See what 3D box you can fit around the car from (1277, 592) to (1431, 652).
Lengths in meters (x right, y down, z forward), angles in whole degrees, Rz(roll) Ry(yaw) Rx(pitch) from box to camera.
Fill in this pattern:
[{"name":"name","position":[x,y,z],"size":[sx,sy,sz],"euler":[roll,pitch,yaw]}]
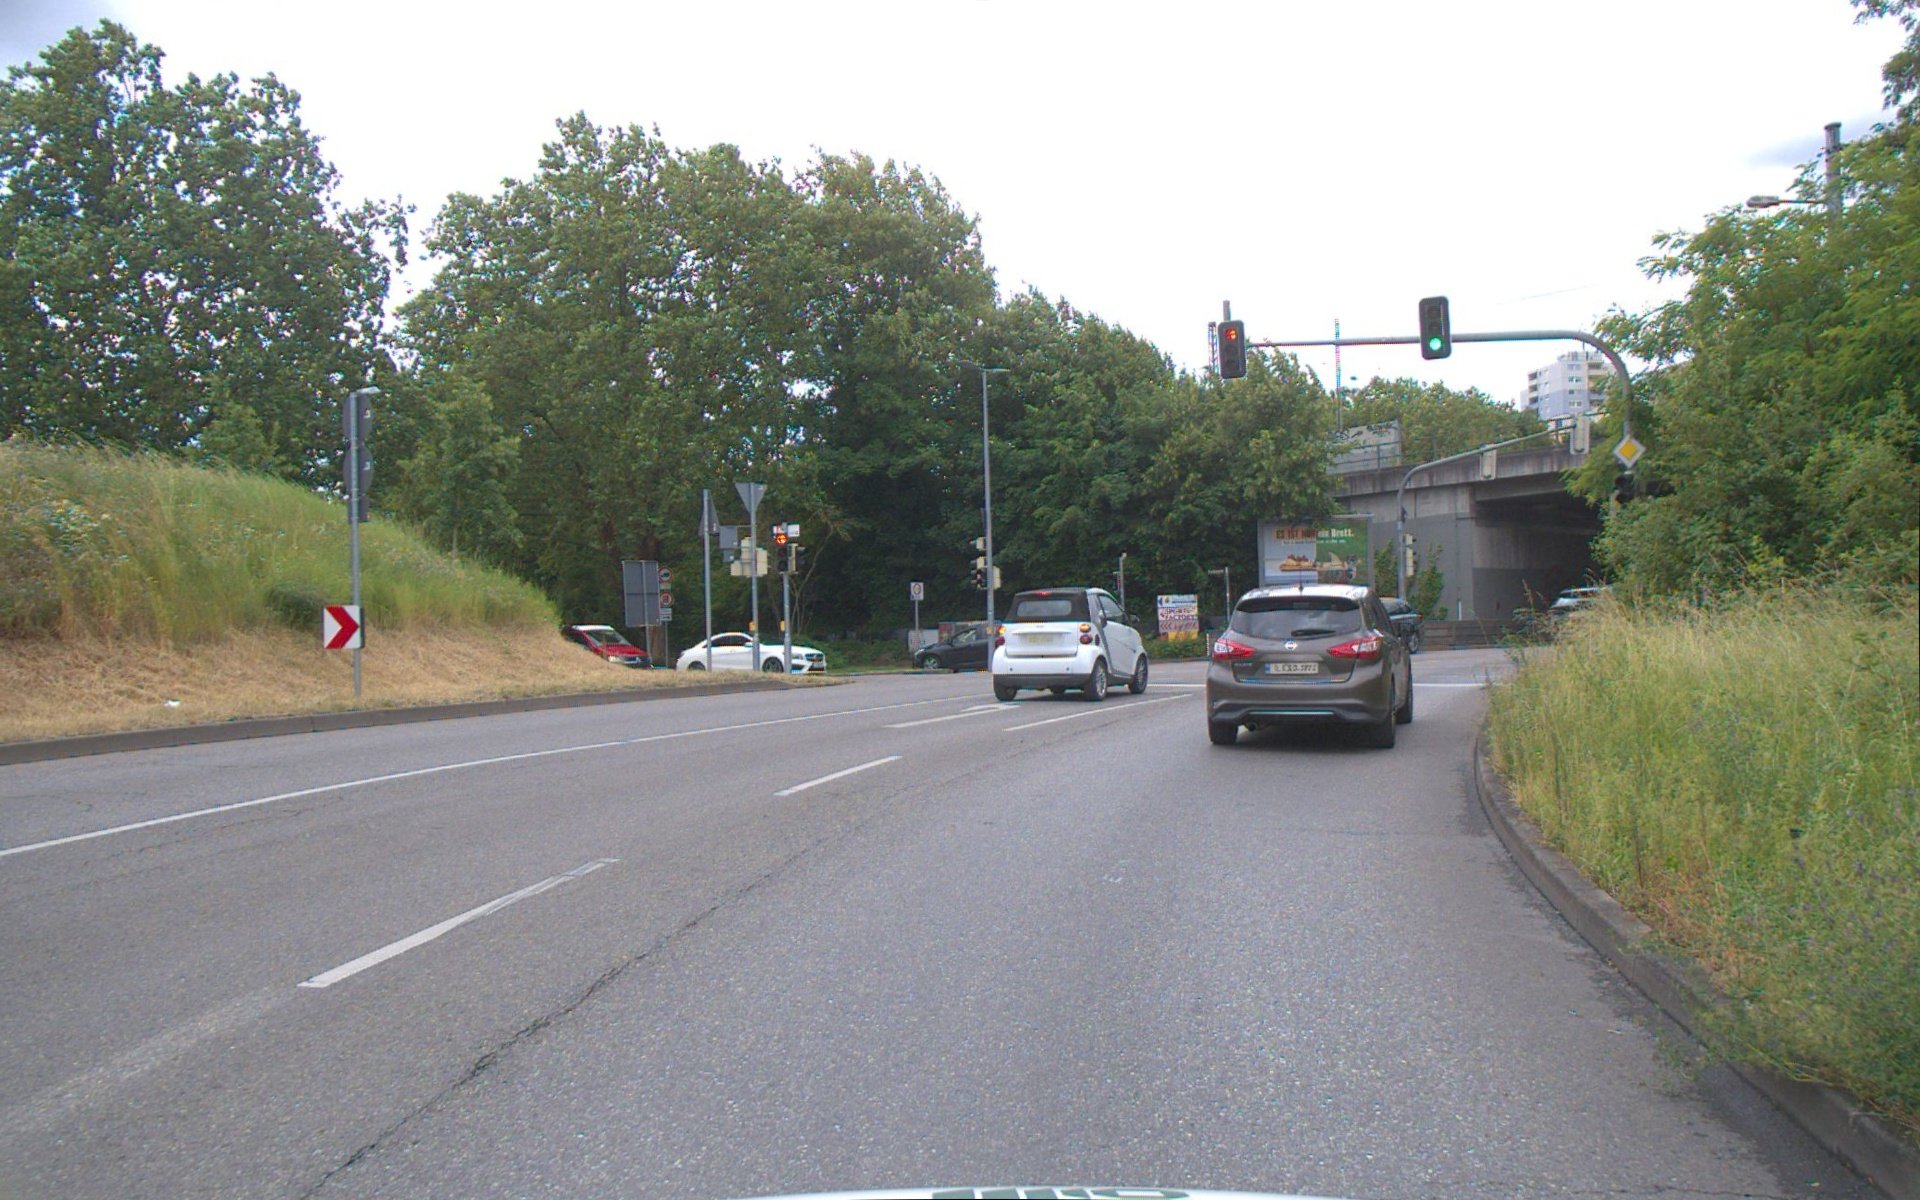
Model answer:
[{"name":"car","position":[10.209,0.555,42.658],"size":[4.386,1.445,1.742],"euler":[-1,-1,-44]}]

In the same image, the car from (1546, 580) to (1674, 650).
[{"name":"car","position":[15.054,0.339,38.223],"size":[1.867,1.492,3.986],"euler":[2,1,35]}]

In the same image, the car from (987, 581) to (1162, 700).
[{"name":"car","position":[1.699,0.528,23.811],"size":[1.544,1.585,3.014],"euler":[0,0,25]}]

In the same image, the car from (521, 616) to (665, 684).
[{"name":"car","position":[-11.008,1.488,49.534],"size":[3.950,1.845,1.852],"euler":[-4,-2,30]}]

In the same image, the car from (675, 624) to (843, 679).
[{"name":"car","position":[-5.636,1.468,46.317],"size":[4.322,1.362,1.996],"euler":[-3,-4,29]}]

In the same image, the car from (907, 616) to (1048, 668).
[{"name":"car","position":[0.549,1.273,49.548],"size":[3.940,1.477,1.856],"euler":[-1,-2,12]}]

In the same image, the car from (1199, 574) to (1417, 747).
[{"name":"car","position":[3.672,0.536,16.931],"size":[1.806,1.519,4.003],"euler":[-2,0,17]}]
